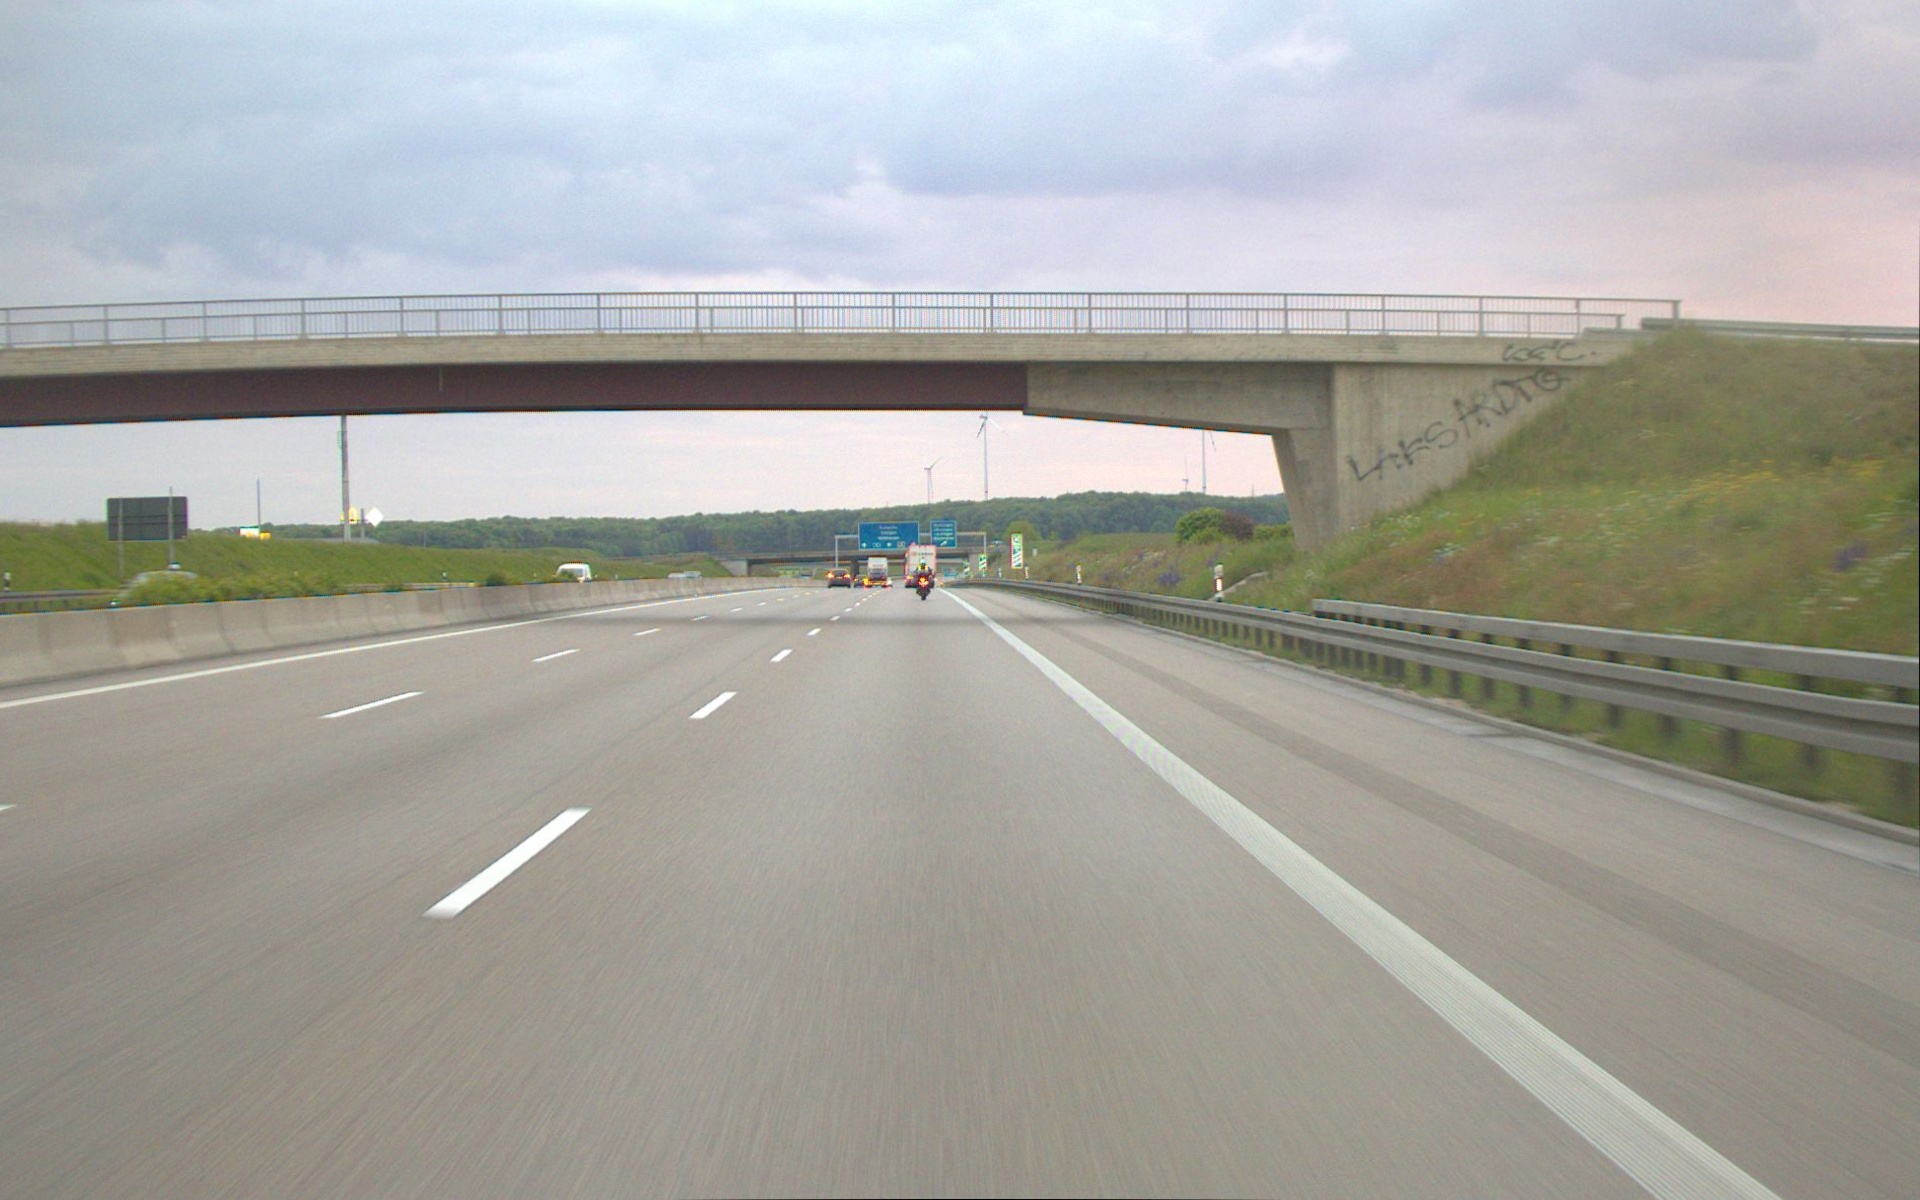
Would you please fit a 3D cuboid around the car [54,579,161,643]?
[{"bbox_3d":[-21.832,0.263,88.194,1.754,1.547,4.361,1,1,-2],"label":"car"}]

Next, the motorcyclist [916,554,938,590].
[{"bbox_3d":[-1.345,-1.151,141.230,0.866,1.482,1.168,1,1,1],"label":"motorcyclist"}]

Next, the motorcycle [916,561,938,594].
[{"bbox_3d":[-1.347,-0.933,141.267,0.902,1.342,2.349,0,1,-1],"label":"motorcycle"}]
